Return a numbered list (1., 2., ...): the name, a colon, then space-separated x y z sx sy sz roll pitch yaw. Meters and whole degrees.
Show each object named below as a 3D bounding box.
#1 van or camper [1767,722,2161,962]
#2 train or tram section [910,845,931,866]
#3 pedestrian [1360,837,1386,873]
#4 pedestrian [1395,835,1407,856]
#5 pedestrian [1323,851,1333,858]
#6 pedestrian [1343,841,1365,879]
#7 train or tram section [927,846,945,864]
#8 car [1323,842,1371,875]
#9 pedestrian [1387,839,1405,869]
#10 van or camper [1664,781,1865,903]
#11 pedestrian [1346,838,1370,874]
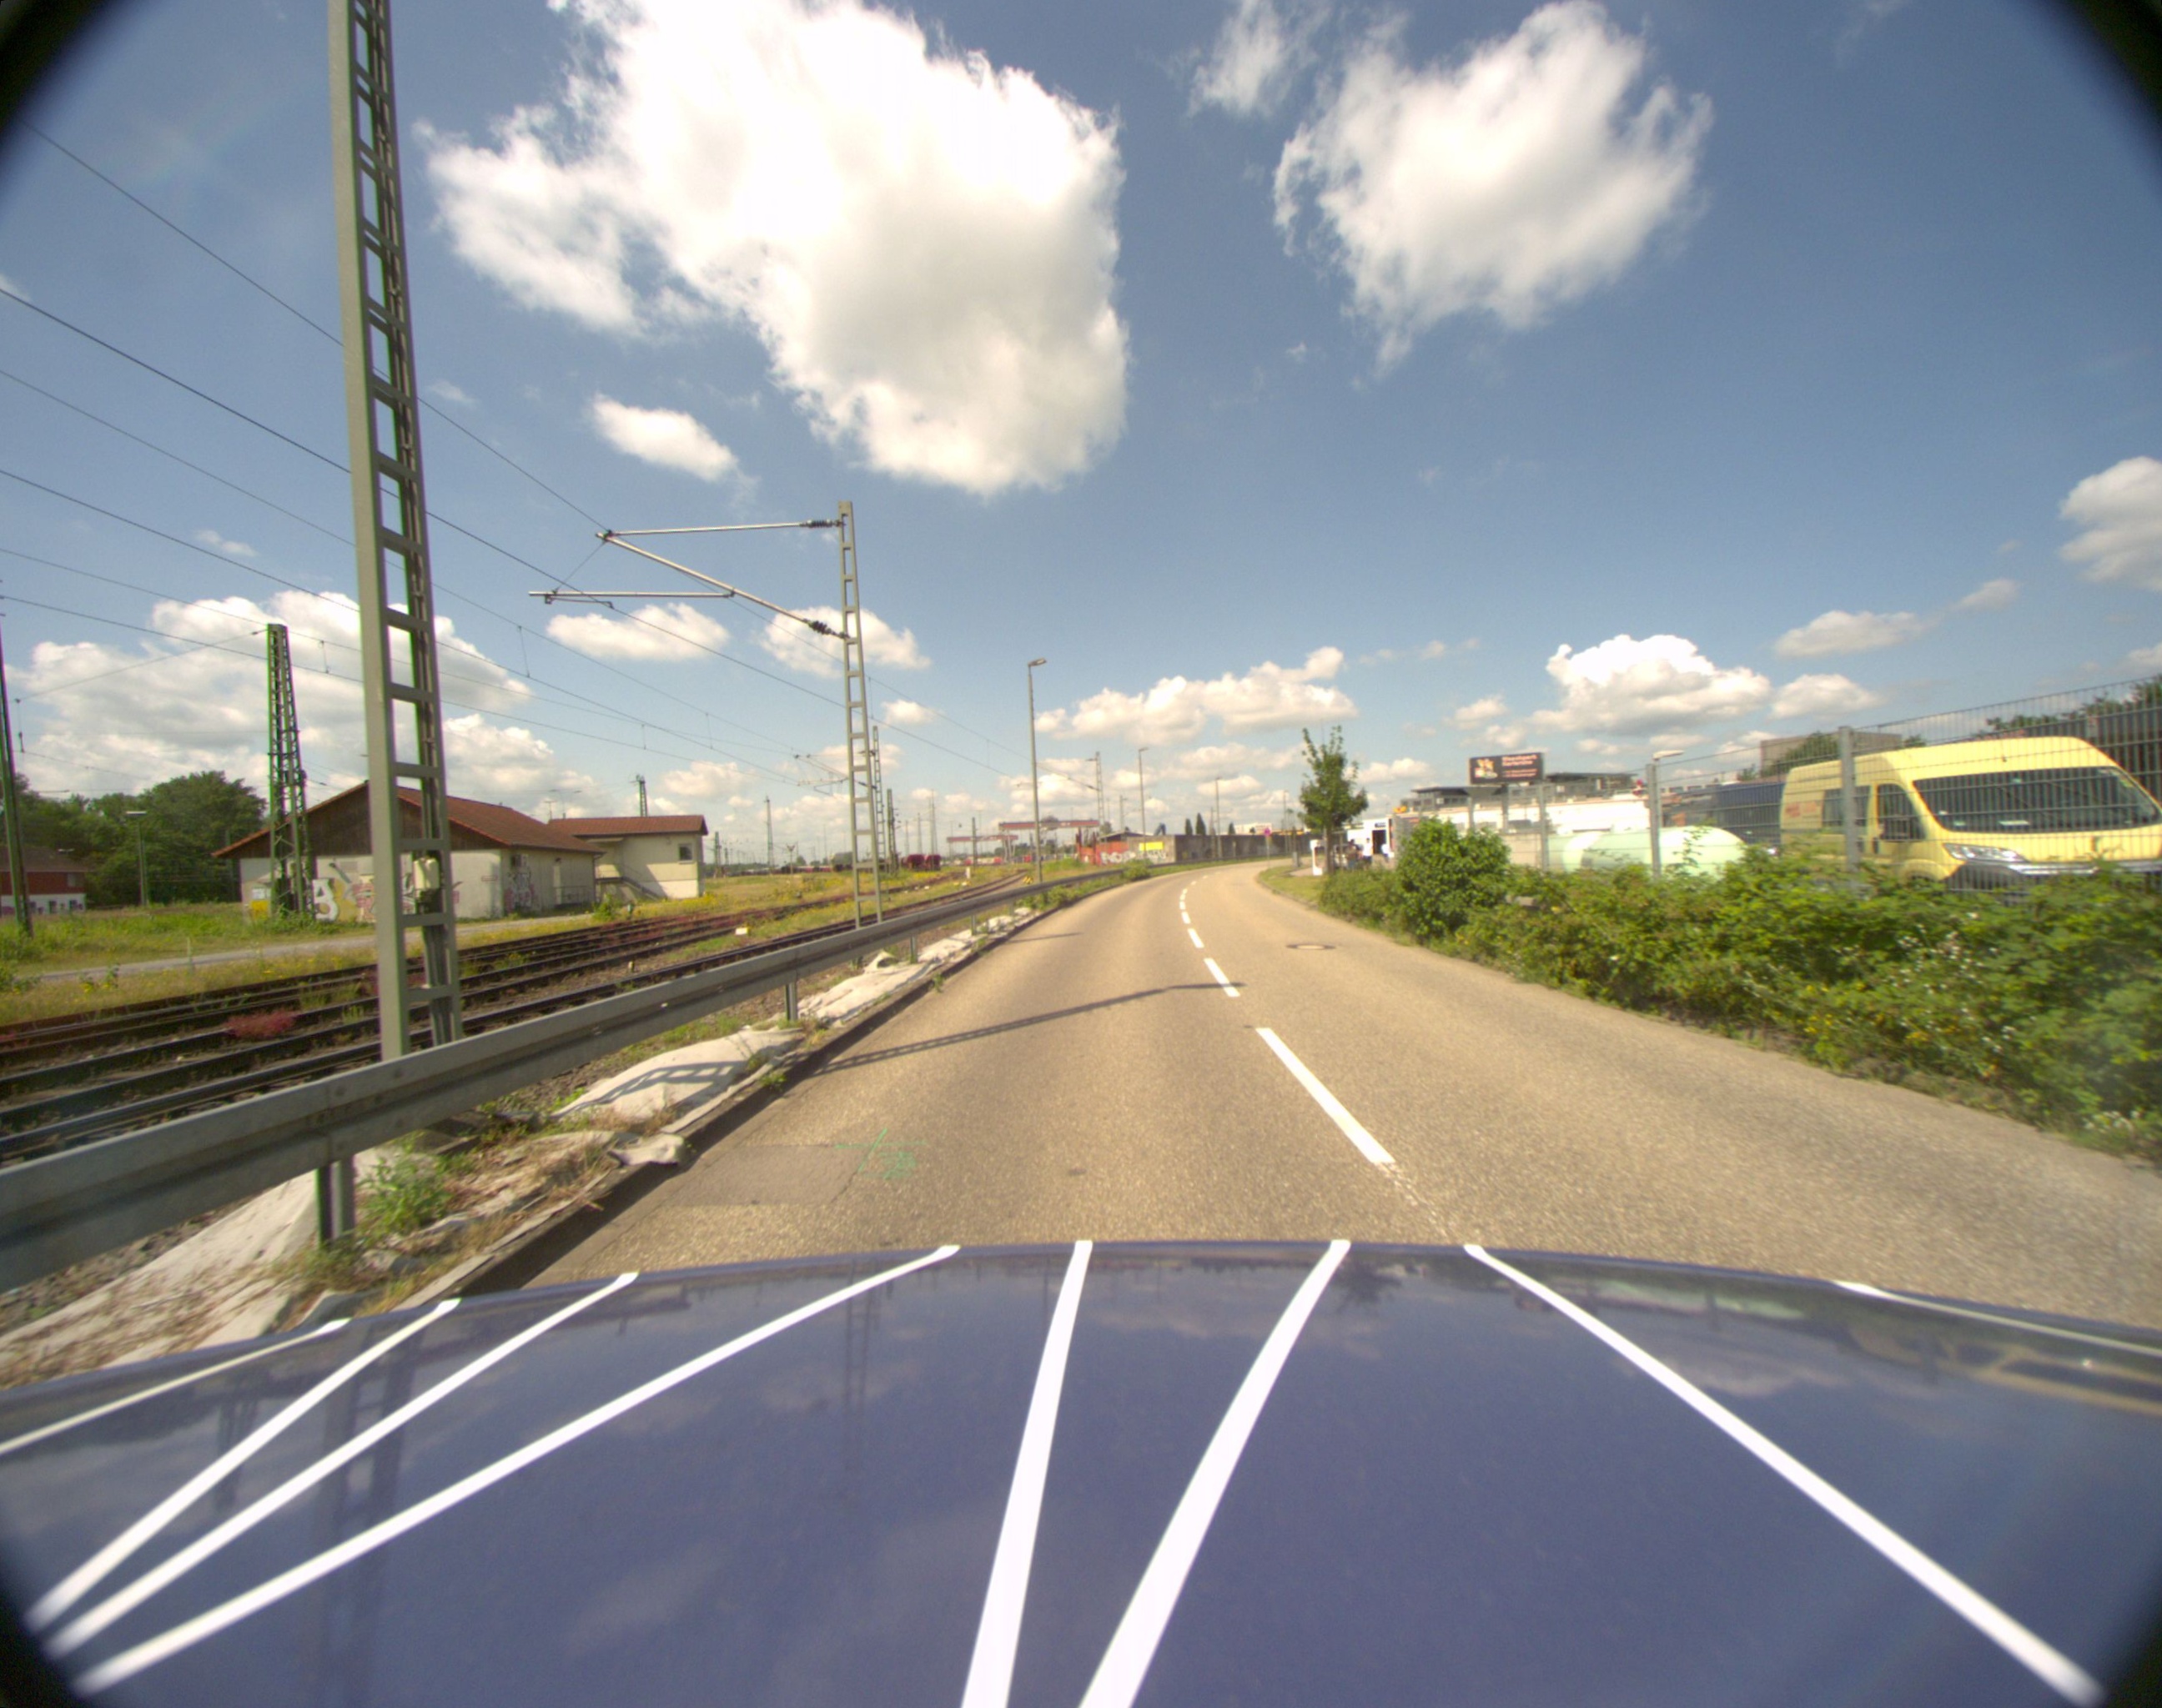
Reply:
1. van or camper: 11.858 -0.184 10.294 2.244 2.411 5.668 -2 1 26
2. train or tram section: -31.182 0.311 147.124 3.303 3.695 12.537 -3 0 -15
3. pedestrian: 12.940 0.061 33.697 0.715 1.556 0.757 -3 1 -38
4. pedestrian: 32.951 -0.881 78.241 0.938 2.002 0.866 -2 3 30
5. pedestrian: 27.341 0.060 84.083 0.862 0.755 0.819 1 1 31
6. pedestrian: 11.267 0.231 31.314 0.738 1.533 0.817 -2 1 25
7. train or tram section: -32.700 0.299 170.988 3.207 3.695 12.537 -3 0 -15
8. car: 13.727 0.235 39.073 1.932 1.508 4.783 -3 -2 23
9. pedestrian: 18.956 0.009 45.715 0.863 1.741 0.728 -3 1 23
10. van or camper: 14.442 -0.256 16.458 1.876 2.204 5.116 -2 1 26
11. pedestrian: 12.508 0.105 34.293 0.723 1.570 0.712 -3 1 -38
